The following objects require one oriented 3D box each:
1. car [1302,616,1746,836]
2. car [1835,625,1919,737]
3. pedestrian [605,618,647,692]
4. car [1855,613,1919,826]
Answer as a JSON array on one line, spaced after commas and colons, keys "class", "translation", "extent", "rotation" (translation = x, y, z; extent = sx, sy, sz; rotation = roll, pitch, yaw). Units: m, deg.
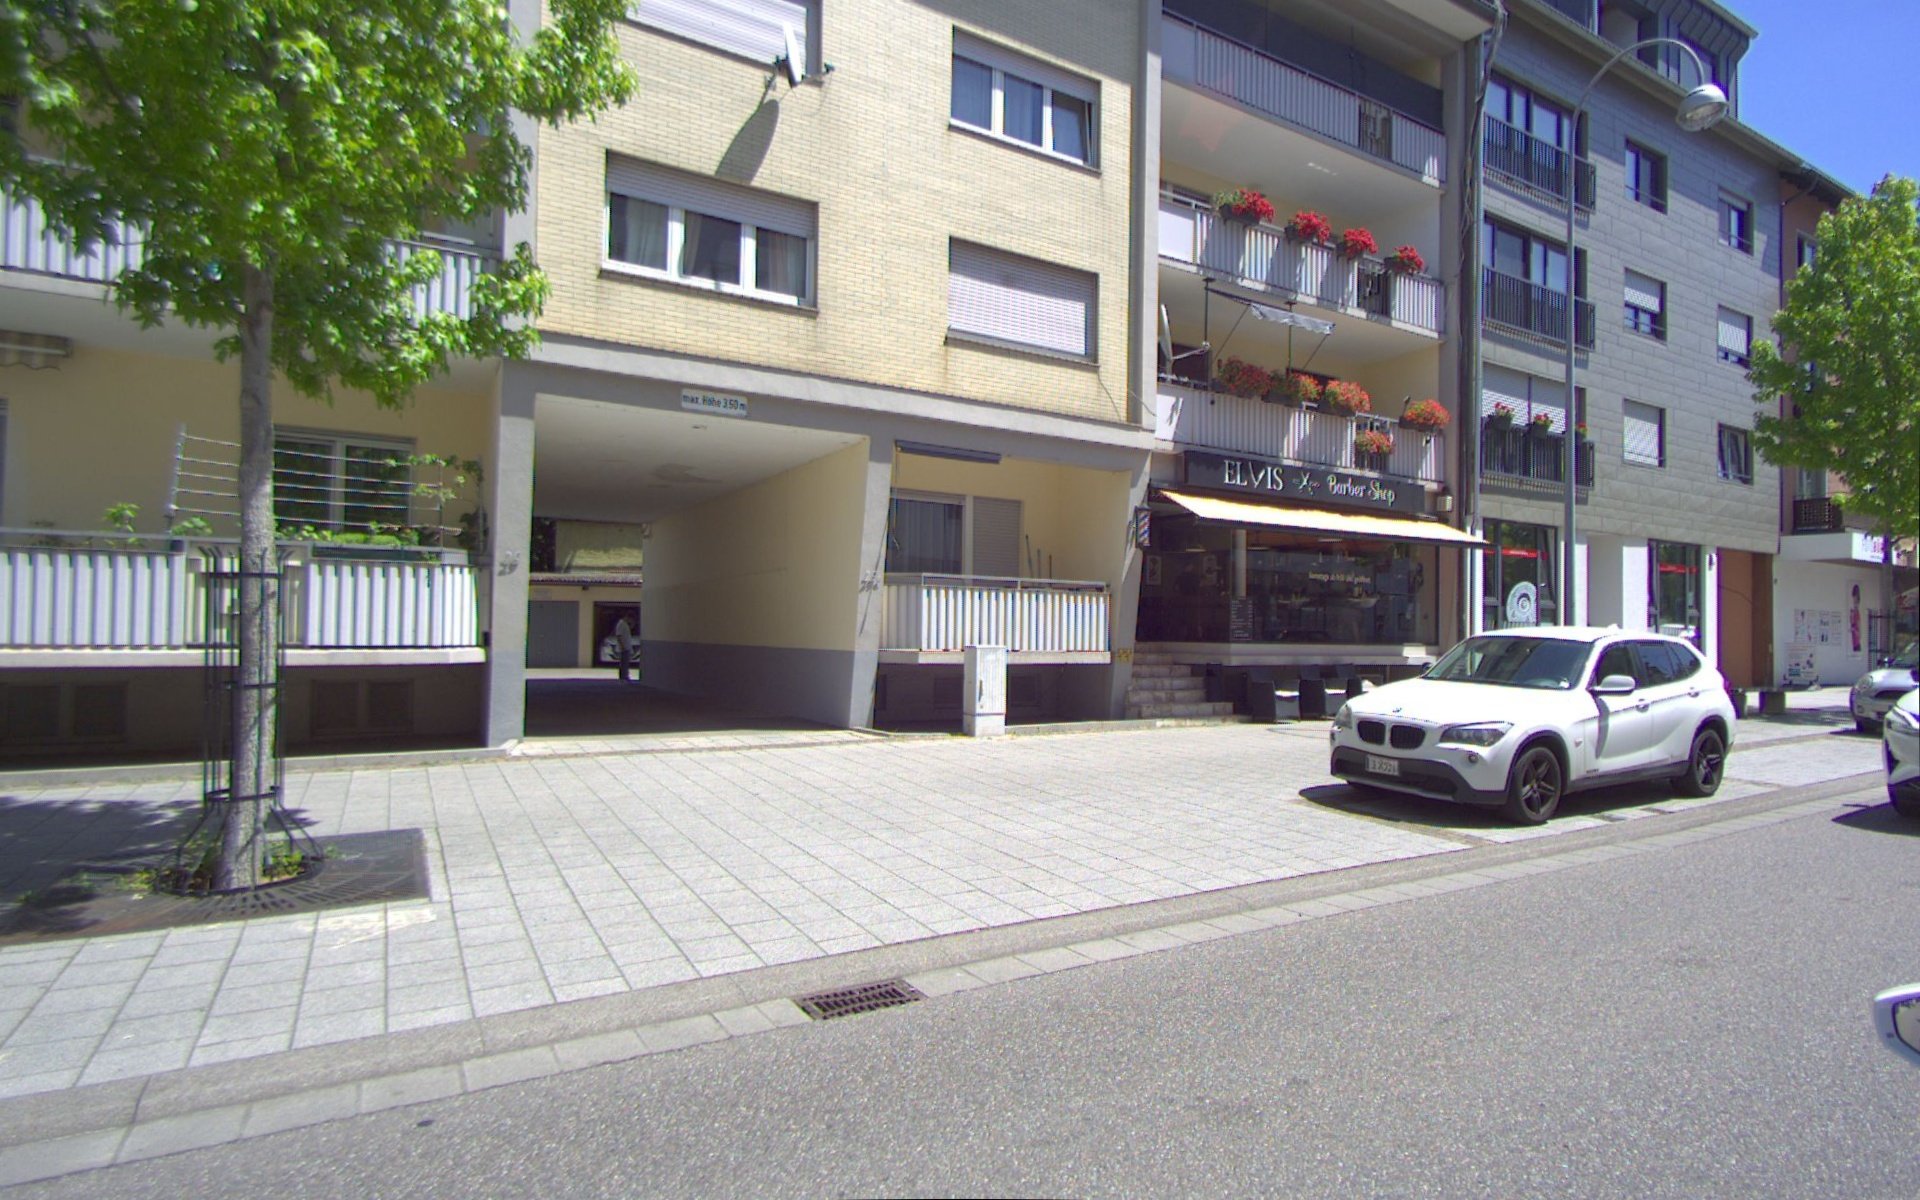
[{"class": "car", "translation": [5.324, 0.994, 9.339], "extent": [4.249, 1.613, 1.687], "rotation": [1, 0, -30]}, {"class": "car", "translation": [14.315, 1.121, 14.428], "extent": [3.507, 1.493, 1.614], "rotation": [1, -2, -30]}, {"class": "pedestrian", "translation": [-7.777, 1.268, 23.389], "extent": [0.782, 1.689, 0.707], "rotation": [1, -2, -30]}, {"class": "car", "translation": [9.550, 0.959, 8.482], "extent": [4.249, 1.654, 1.763], "rotation": [1, -2, -30]}]
